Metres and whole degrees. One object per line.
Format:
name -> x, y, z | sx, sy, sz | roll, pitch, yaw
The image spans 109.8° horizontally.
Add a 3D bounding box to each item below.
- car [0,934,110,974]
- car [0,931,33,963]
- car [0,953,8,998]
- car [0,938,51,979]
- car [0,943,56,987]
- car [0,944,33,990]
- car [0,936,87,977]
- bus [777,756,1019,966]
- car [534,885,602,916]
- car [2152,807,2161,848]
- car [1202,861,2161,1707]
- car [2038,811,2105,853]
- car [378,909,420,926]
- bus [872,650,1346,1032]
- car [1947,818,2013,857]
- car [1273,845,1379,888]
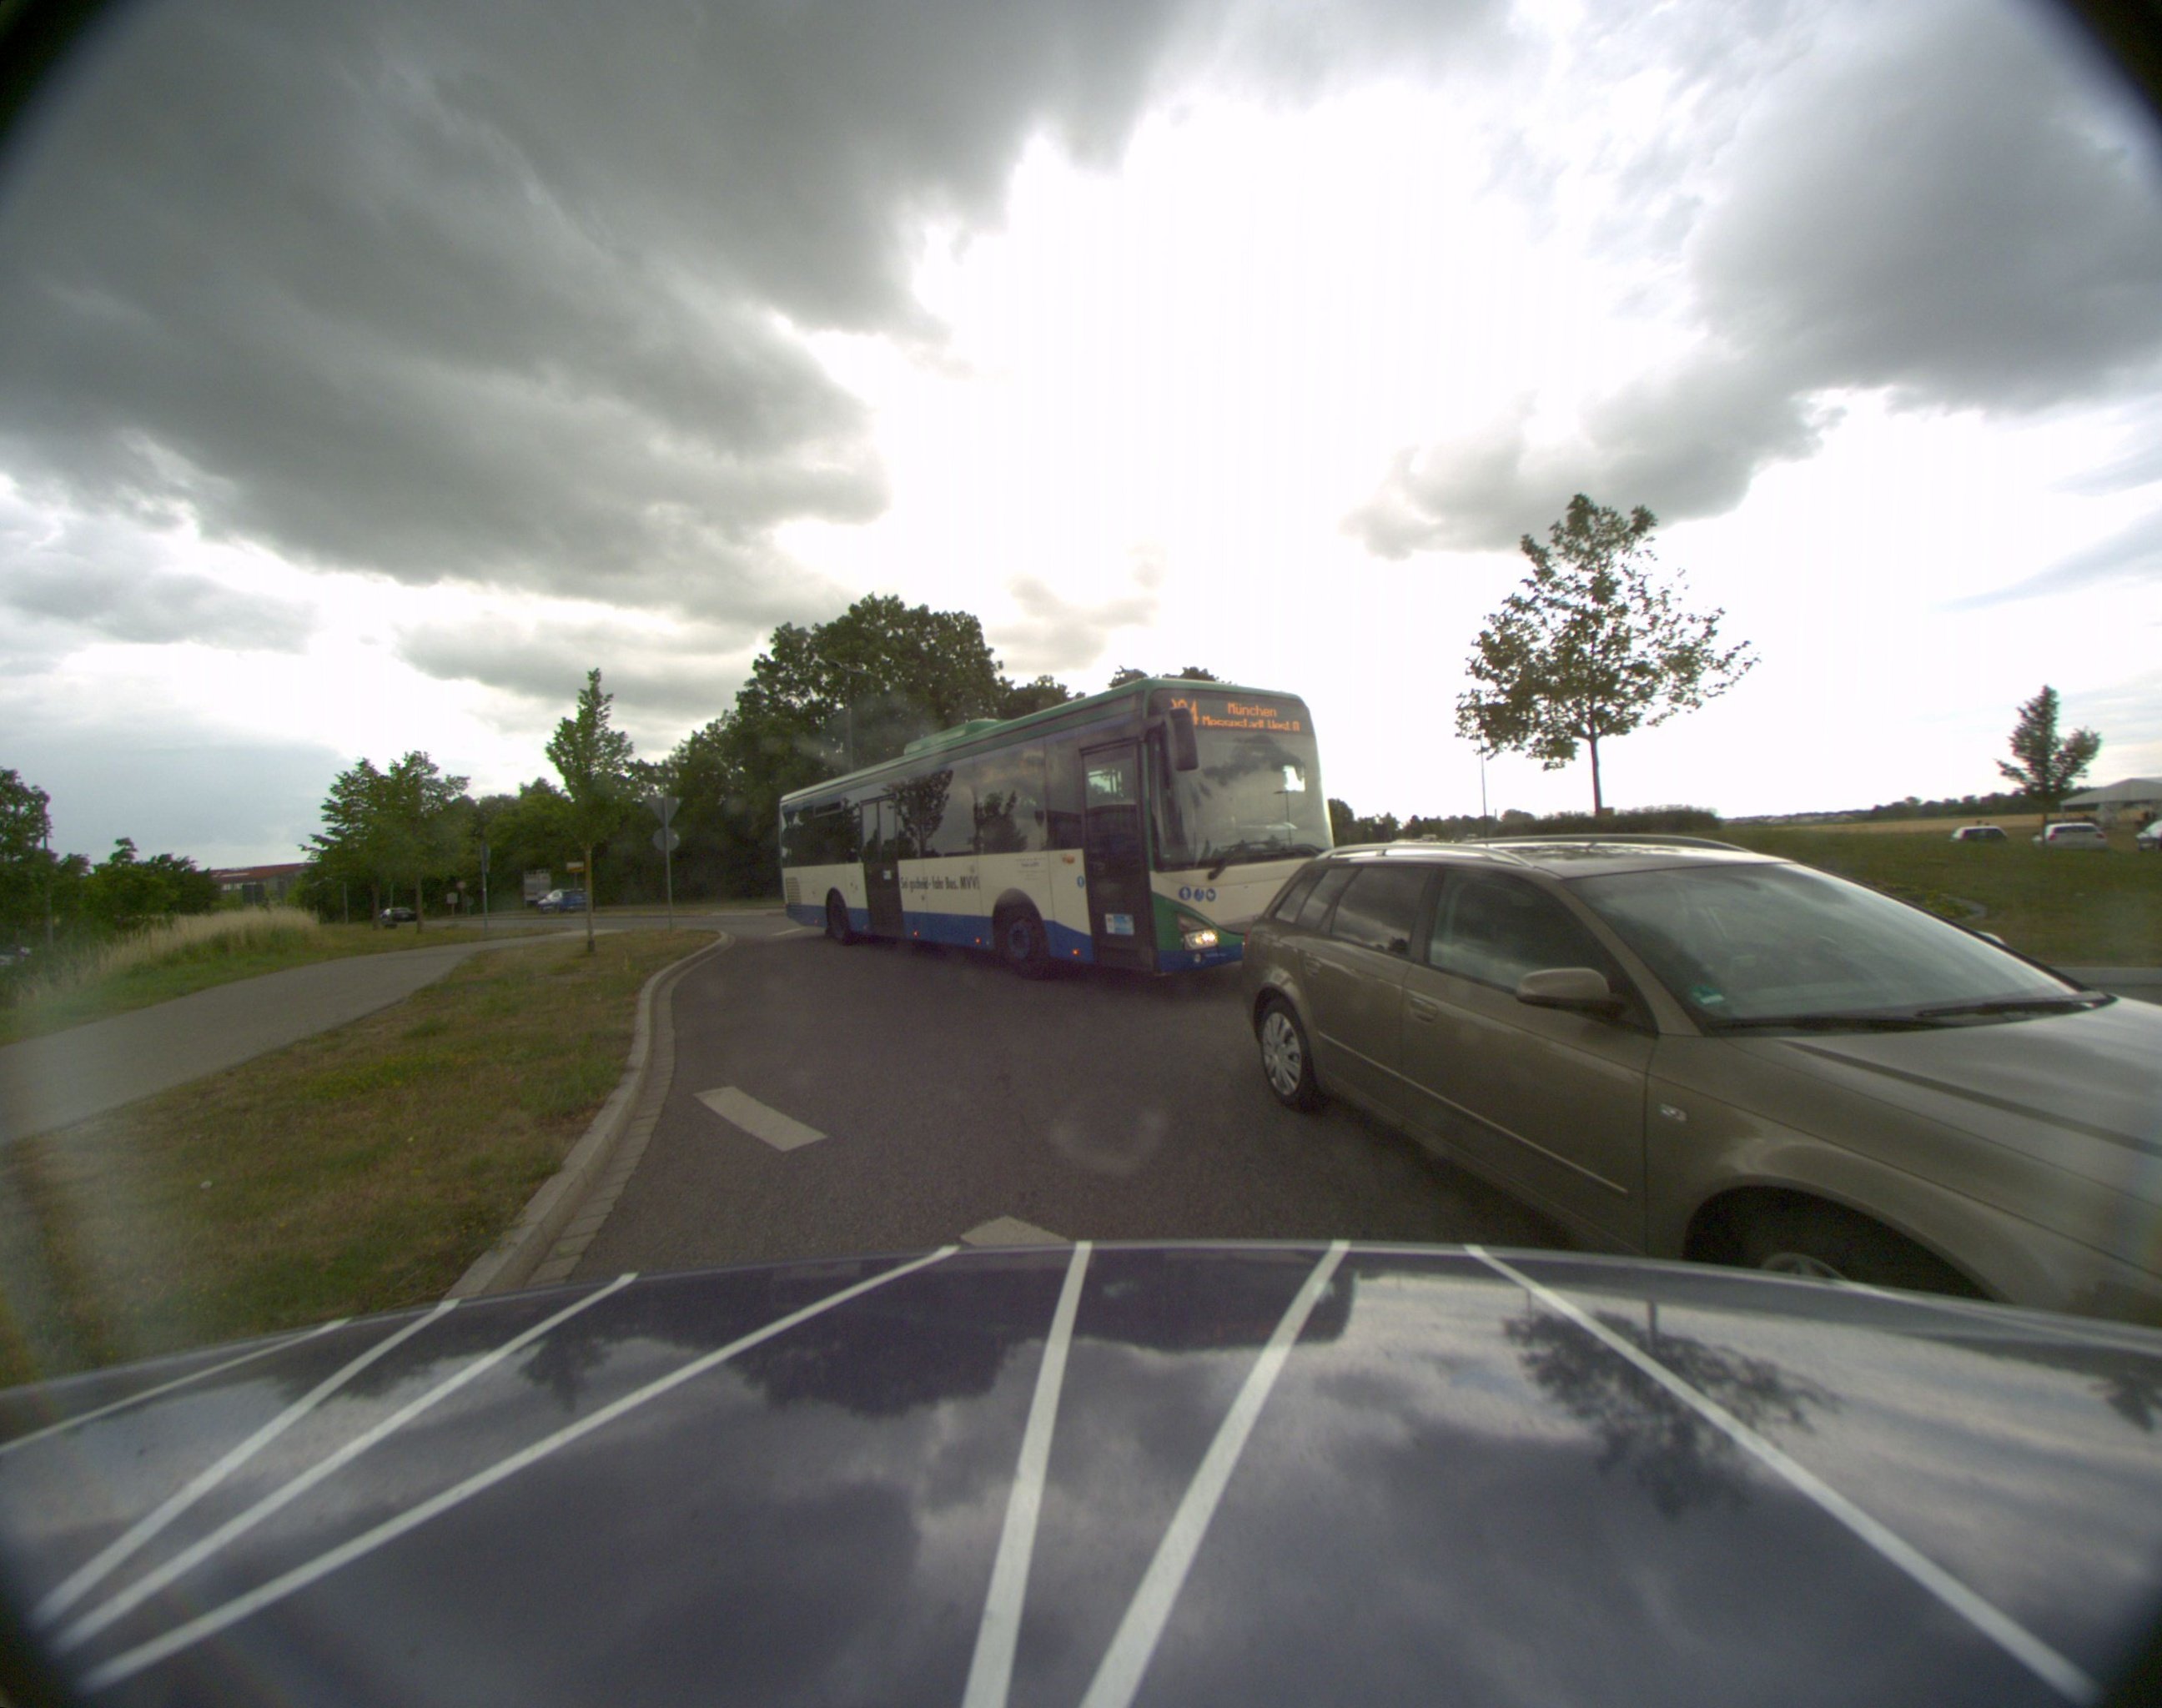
car -> -49.330, 4.769, 35.936 | 3.896, 1.455, 1.693 | -3, 0, -42
car -> -53.221, 4.605, 36.020 | 1.879, 1.435, 4.007 | -3, 0, 34
car -> -36.858, 4.089, 23.506 | 3.896, 1.455, 1.693 | -3, 0, -42
car -> -44.331, 4.324, 30.087 | 3.896, 1.455, 1.693 | -3, 0, -42
car -> -41.675, 4.321, 28.264 | 3.896, 1.455, 1.693 | -3, 0, -42
car -> -39.514, 4.096, 26.030 | 3.896, 1.455, 1.693 | -3, 0, -42
car -> -46.672, 4.549, 33.026 | 3.896, 1.455, 1.693 | -3, 0, -42
bus -> -3.753, 0.082, 14.642 | 2.529, 3.239, 5.446 | -3, 1, -36
car -> -29.162, 2.662, 43.152 | 4.072, 1.422, 1.766 | -6, 0, 35
car -> 47.352, -1.230, 32.453 | 4.006, 1.544, 1.712 | -5, 0, -36
car -> 2.140, 0.801, 2.904 | 1.784, 1.456, 4.536 | -3, 0, -12
car -> 45.208, -1.007, 34.664 | 4.006, 1.544, 1.712 | -5, 0, -36
car -> -58.791, 5.461, 65.520 | 4.104, 1.299, 1.834 | -3, -1, 36
bus -> -0.211, -0.127, 9.818 | 2.529, 3.239, 6.531 | -3, 1, -36
car -> 43.355, -0.814, 36.618 | 4.006, 1.544, 1.712 | -5, 0, -36
car -> 10.476, 0.504, 32.359 | 4.466, 1.558, 1.968 | -3, 0, -36
